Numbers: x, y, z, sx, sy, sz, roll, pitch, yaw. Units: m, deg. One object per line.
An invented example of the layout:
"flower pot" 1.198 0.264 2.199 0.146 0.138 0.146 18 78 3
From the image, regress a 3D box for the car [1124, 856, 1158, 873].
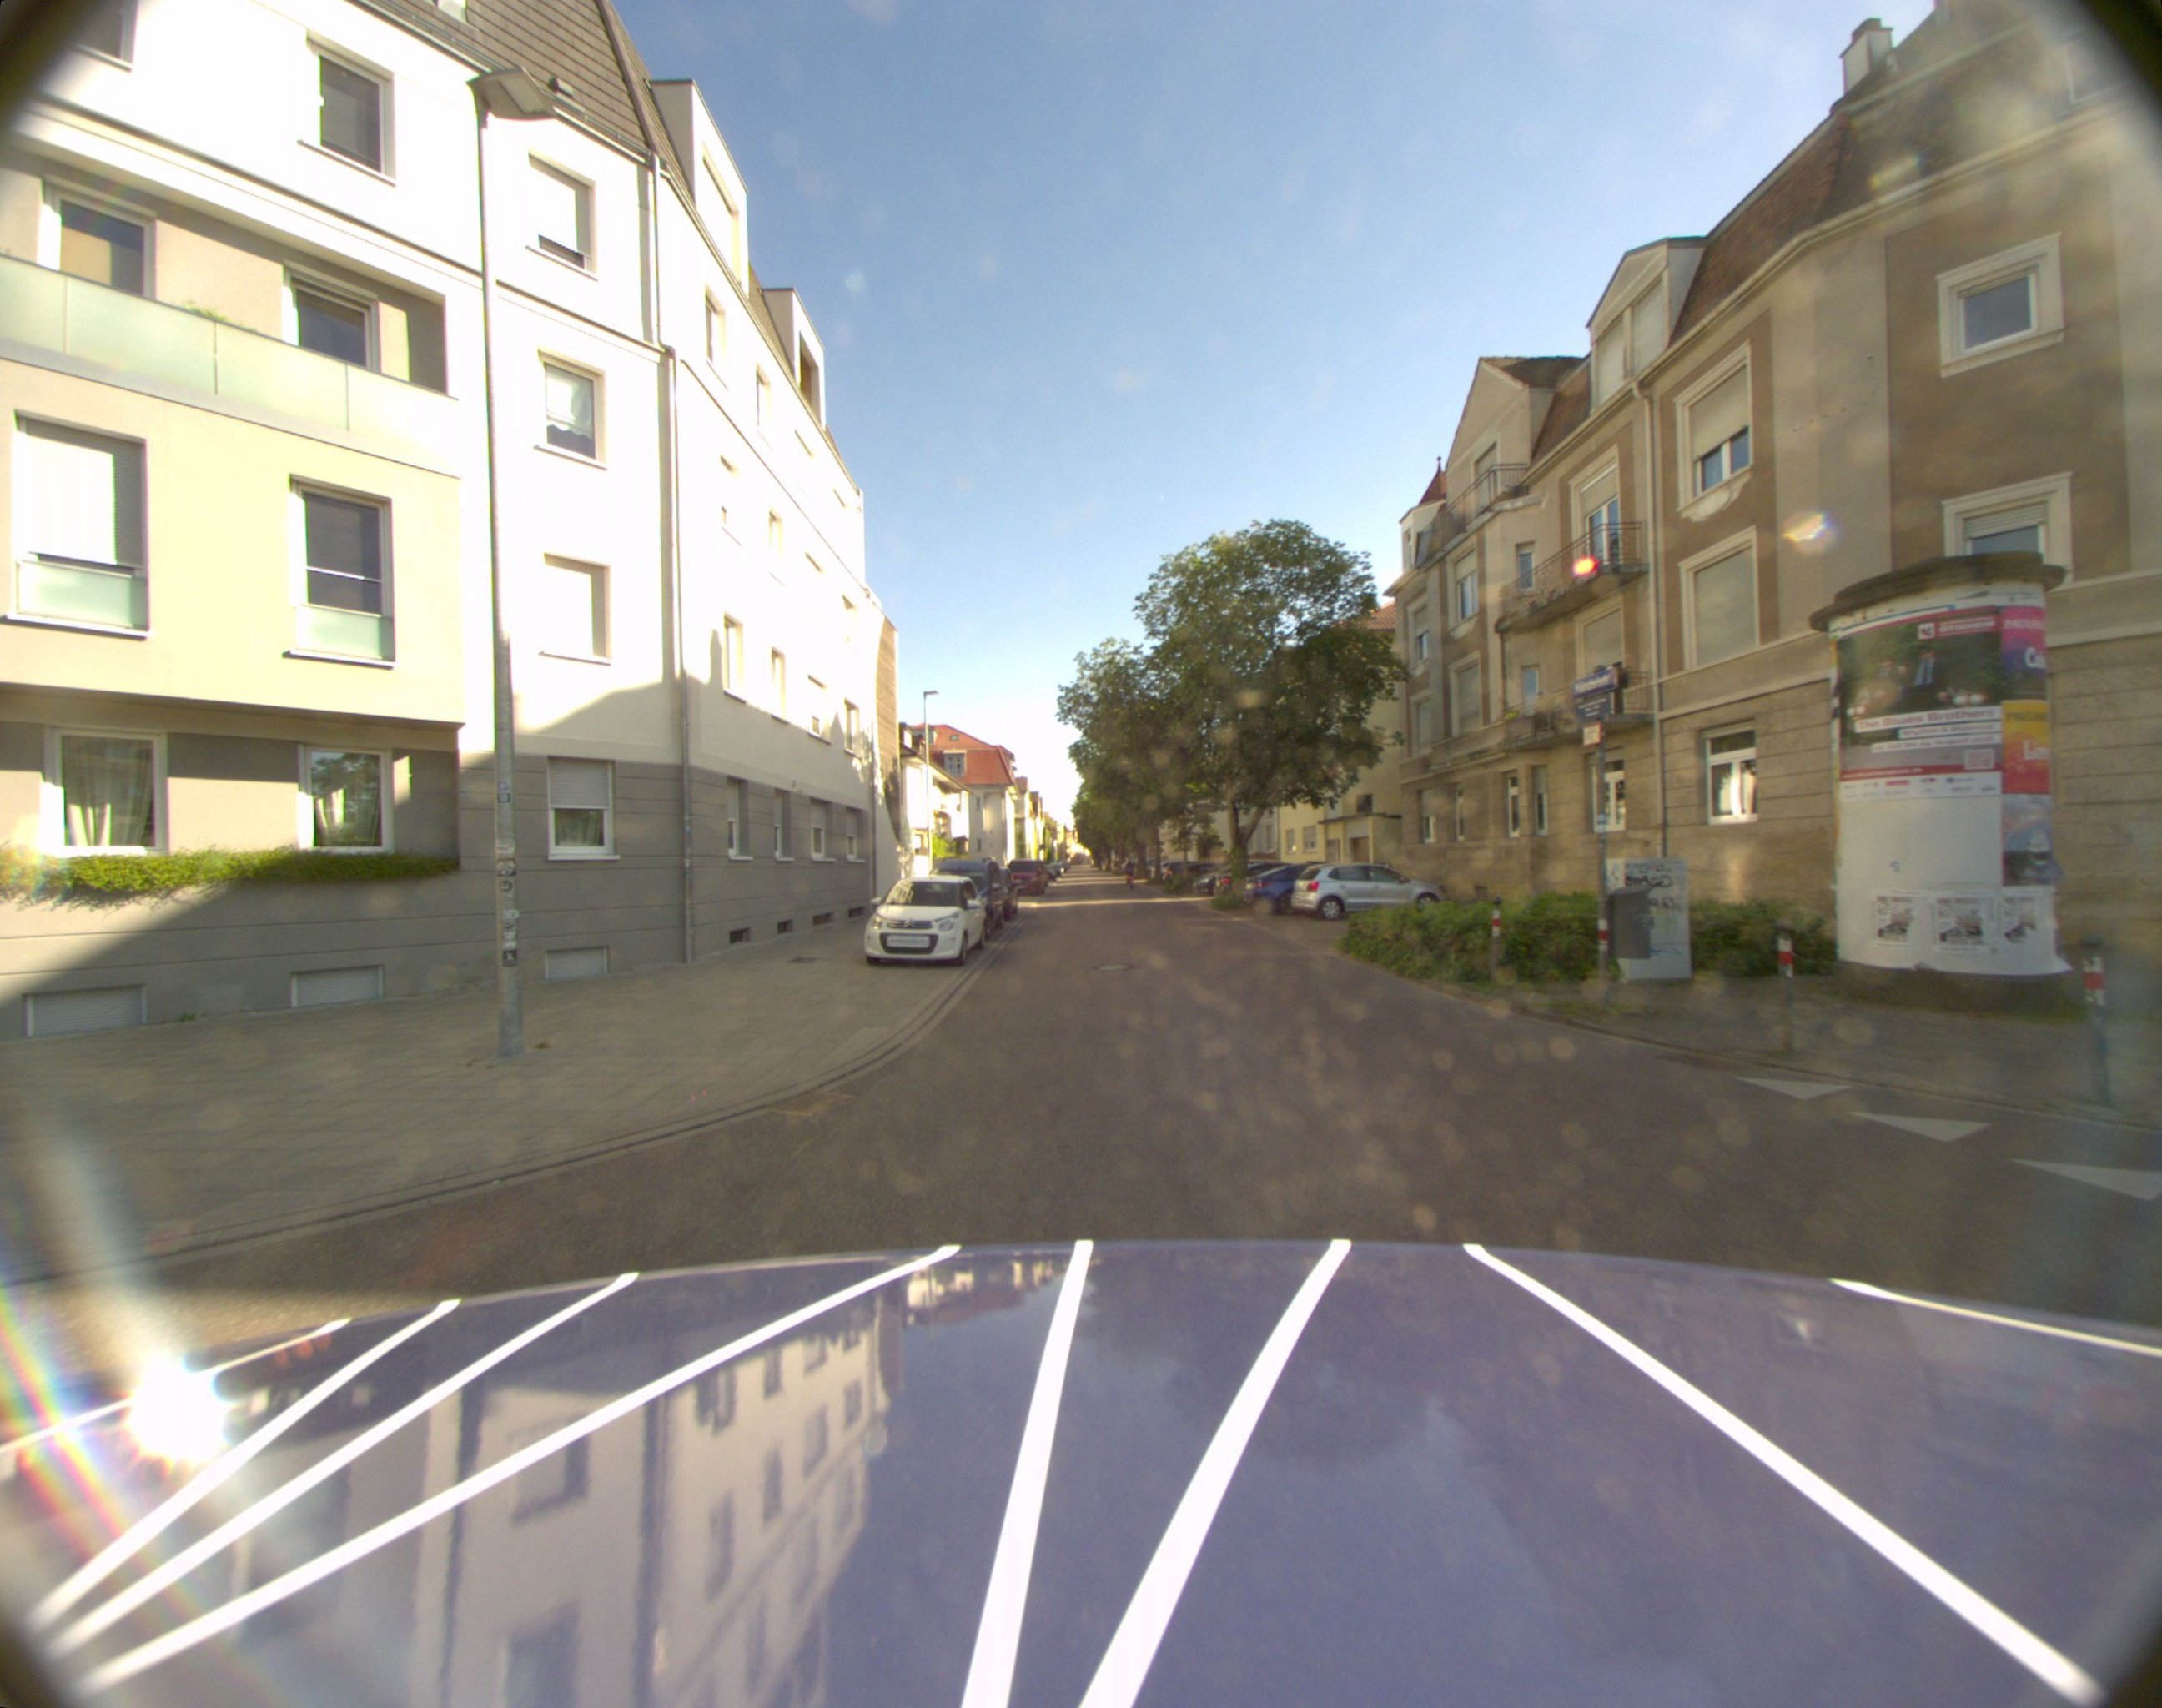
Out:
"car" 6.654 1.198 84.651 3.528 1.693 1.692 -2 0 -2

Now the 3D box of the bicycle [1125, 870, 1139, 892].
"bicycle" 2.772 1.468 41.478 0.644 1.102 2.065 -1 0 1

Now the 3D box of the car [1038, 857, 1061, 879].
"car" -2.858 1.266 69.390 1.884 1.860 4.402 -1 -1 0

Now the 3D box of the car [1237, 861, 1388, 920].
"car" 6.596 1.013 21.904 3.789 1.486 1.692 -2 0 -3

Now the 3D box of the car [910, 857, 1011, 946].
"car" -2.729 1.022 18.128 1.665 1.825 4.257 2 0 0

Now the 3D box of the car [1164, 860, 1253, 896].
"car" 6.059 1.125 36.256 3.792 1.486 1.690 -2 0 -13

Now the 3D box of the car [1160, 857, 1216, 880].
"car" 7.361 0.996 52.467 3.529 1.486 1.692 -2 0 -5

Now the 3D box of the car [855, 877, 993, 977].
"car" -2.658 1.196 13.662 1.665 1.439 3.688 2 -1 0

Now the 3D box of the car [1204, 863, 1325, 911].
"car" 6.532 1.135 27.150 3.792 1.486 1.690 -2 0 -13

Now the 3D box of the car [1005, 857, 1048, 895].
"car" -2.791 1.123 39.924 1.884 1.860 4.402 2 0 0

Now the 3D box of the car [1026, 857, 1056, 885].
"car" -2.803 1.216 54.156 1.884 1.860 4.402 2 -1 0

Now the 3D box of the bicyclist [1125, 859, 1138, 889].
"bicyclist" 2.763 1.080 41.467 0.644 1.556 1.043 -1 0 1

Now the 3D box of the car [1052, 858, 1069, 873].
"car" -2.574 1.471 95.855 1.884 1.734 4.402 -1 -1 0

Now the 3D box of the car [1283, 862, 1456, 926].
"car" 7.409 0.989 19.724 3.789 1.436 1.692 -2 0 -3

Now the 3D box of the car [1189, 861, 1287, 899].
"car" 6.879 1.118 33.352 3.792 1.486 1.690 -2 0 -13

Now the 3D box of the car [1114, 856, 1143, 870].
"car" 6.265 1.213 100.035 3.528 1.693 1.692 -2 0 -2

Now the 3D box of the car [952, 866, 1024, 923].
"car" -2.791 1.178 23.532 1.665 1.532 4.066 2 -1 0

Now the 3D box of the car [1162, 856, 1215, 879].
"car" 7.781 0.953 55.200 3.529 1.486 1.692 -2 0 -5

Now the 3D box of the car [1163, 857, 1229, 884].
"car" 7.199 1.030 47.902 3.790 1.486 1.692 -2 0 -5
